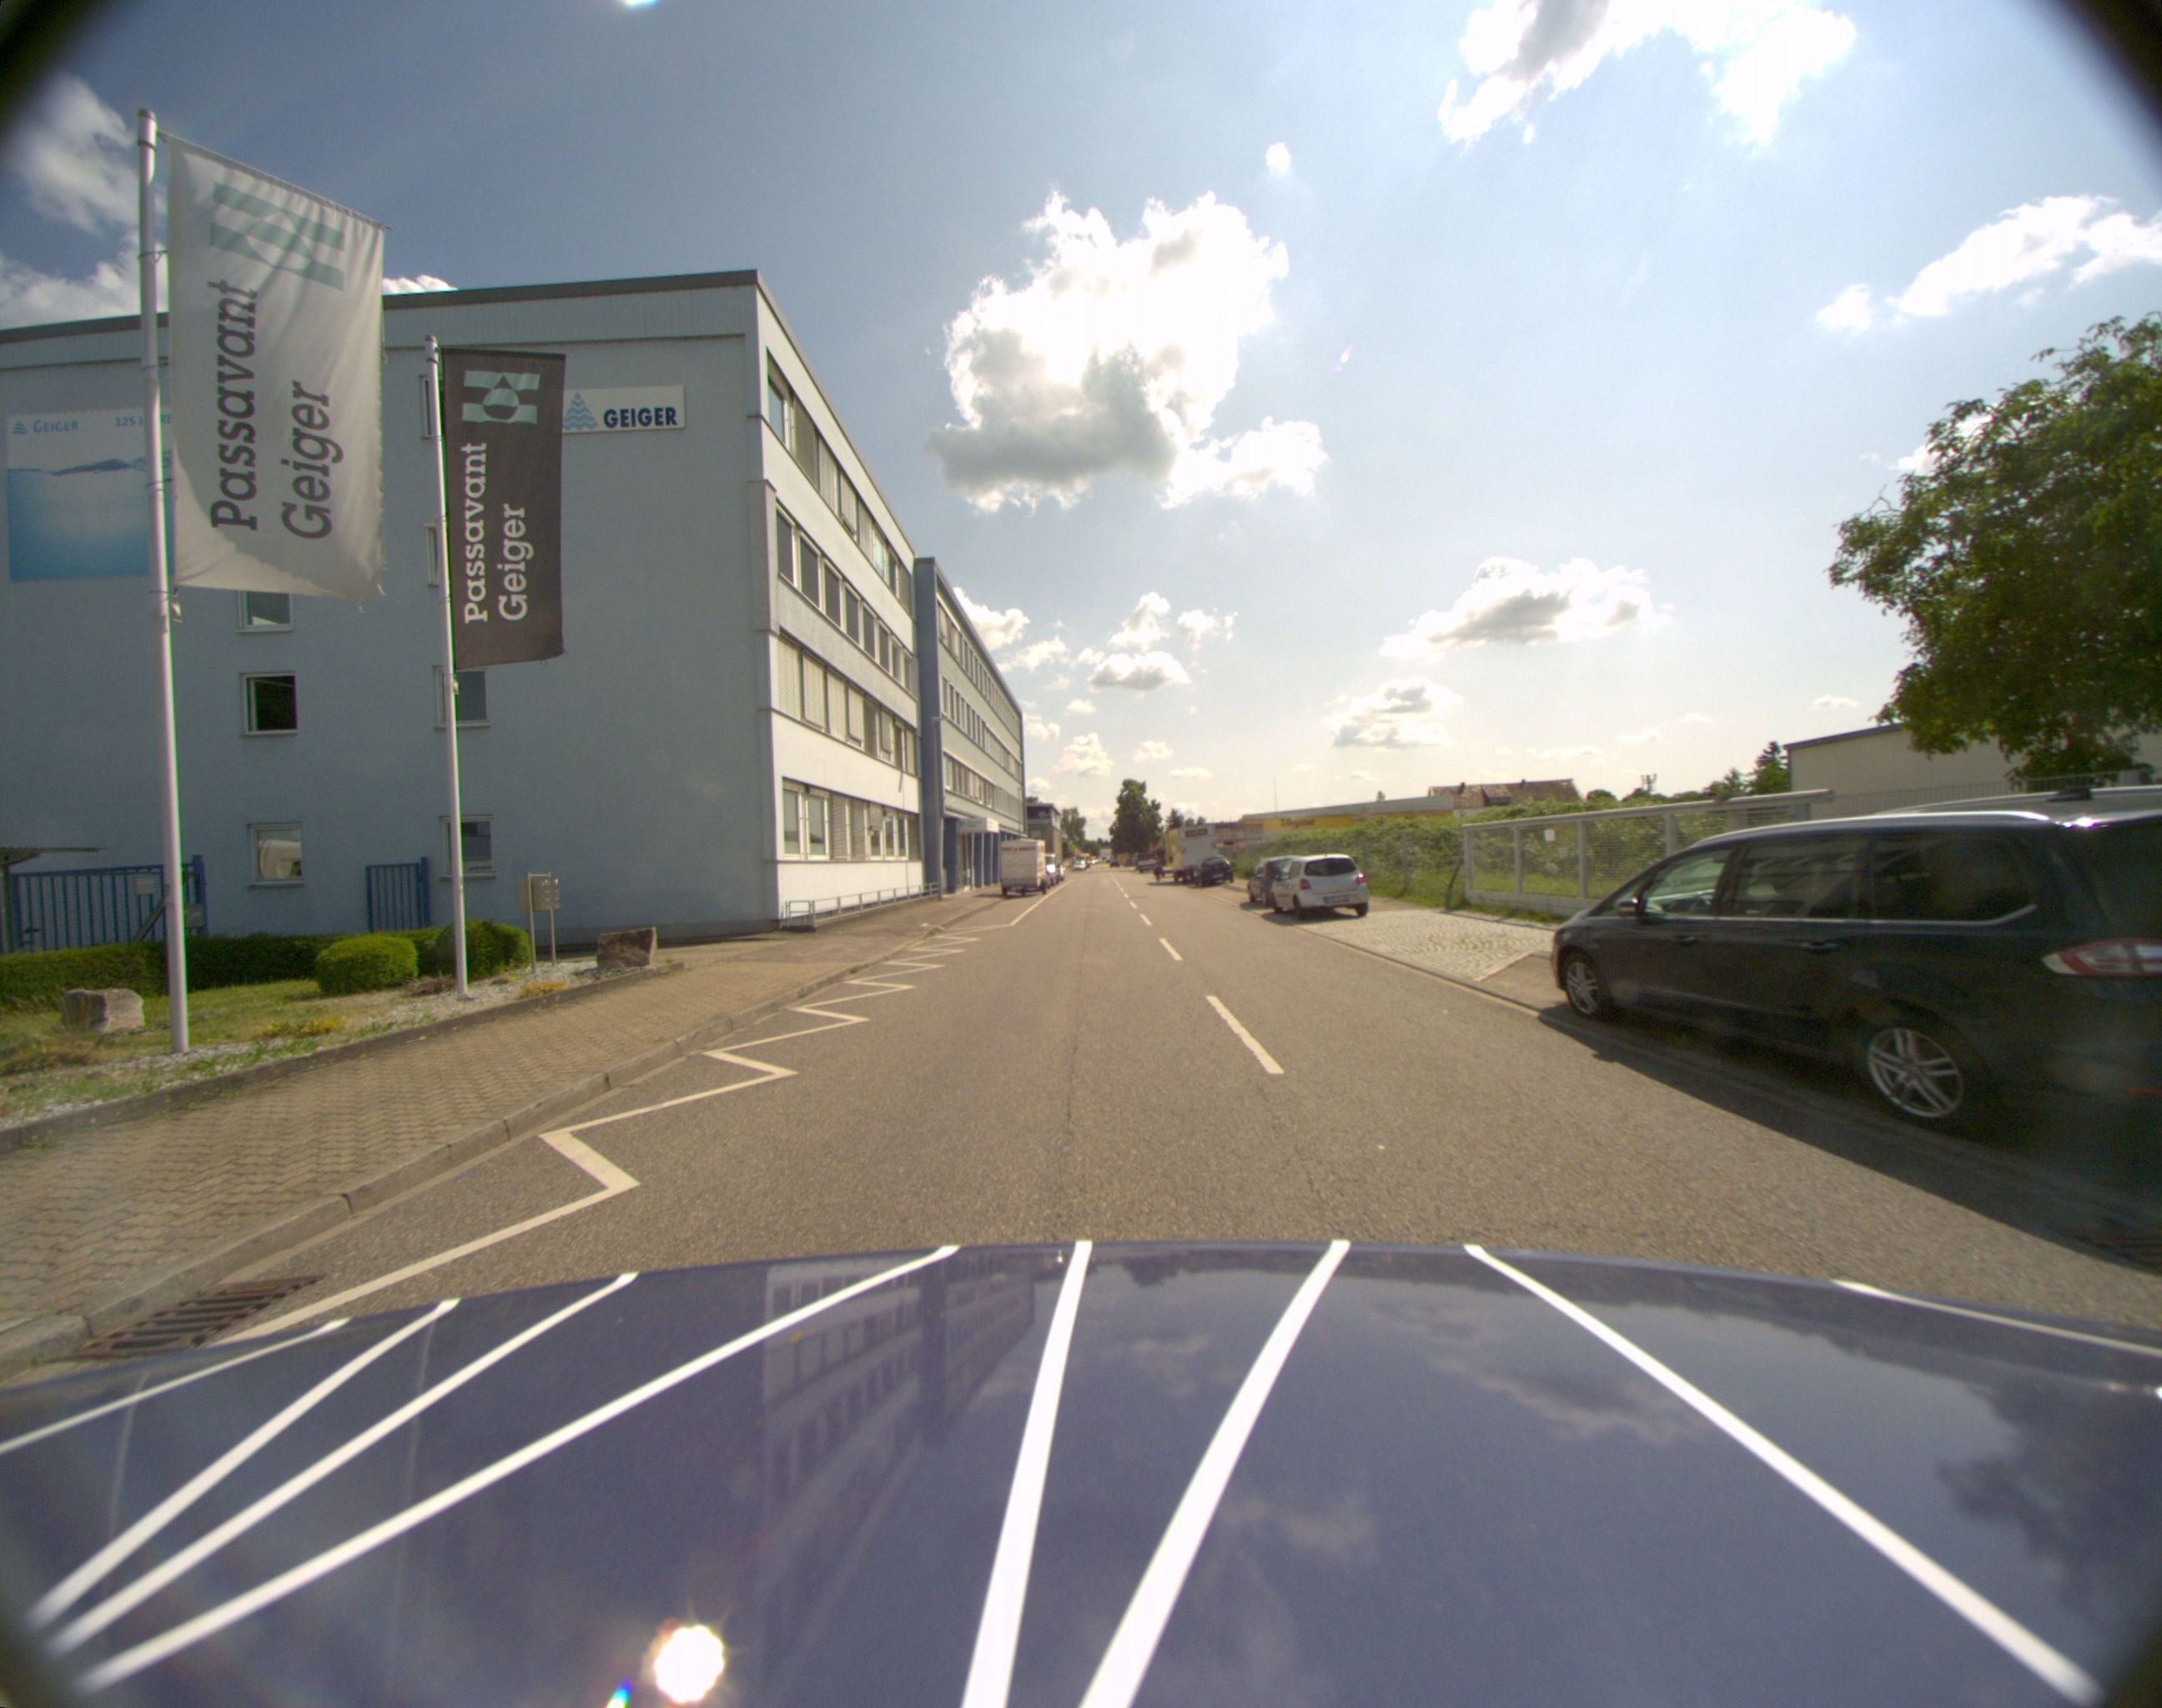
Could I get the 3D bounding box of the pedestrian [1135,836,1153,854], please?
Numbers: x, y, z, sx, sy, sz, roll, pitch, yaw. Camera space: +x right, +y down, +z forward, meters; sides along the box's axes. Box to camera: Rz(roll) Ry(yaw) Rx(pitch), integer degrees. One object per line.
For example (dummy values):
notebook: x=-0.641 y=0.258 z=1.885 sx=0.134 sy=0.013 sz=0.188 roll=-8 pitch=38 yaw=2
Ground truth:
pedestrian: x=7.440 y=-1.092 z=90.014 sx=1.998 sy=2.002 sz=4.000 roll=-3 pitch=1 yaw=3

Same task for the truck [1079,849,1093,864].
truck: x=1.071 y=0.558 z=149.665 sx=2.402 sy=2.787 sz=6.376 roll=-2 pitch=0 yaw=3

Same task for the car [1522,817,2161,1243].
car: x=5.329 y=0.690 z=5.269 sx=1.805 sy=1.739 sz=4.713 roll=-2 pitch=0 yaw=1

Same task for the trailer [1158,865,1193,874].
trailer: x=7.528 y=1.242 z=60.965 sx=2.241 sy=0.549 sz=4.444 roll=-2 pitch=0 yaw=0

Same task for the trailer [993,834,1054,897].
trailer: x=-2.469 y=0.489 z=33.877 sx=1.873 sy=2.538 sz=5.073 roll=-2 pitch=0 yaw=4

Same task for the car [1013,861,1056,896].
car: x=-2.328 y=1.201 z=39.313 sx=1.722 sy=1.533 sz=4.403 roll=-3 pitch=0 yaw=2

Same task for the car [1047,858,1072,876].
car: x=-1.578 y=0.940 z=57.575 sx=1.651 sy=1.239 sz=4.000 roll=-2 pitch=0 yaw=1

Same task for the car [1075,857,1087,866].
car: x=0.017 y=1.190 z=117.141 sx=1.657 sy=1.324 sz=4.000 roll=-2 pitch=0 yaw=1

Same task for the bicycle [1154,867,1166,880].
bicycle: x=4.832 y=1.199 z=46.532 sx=0.589 sy=0.737 sz=2.125 roll=-2 pitch=0 yaw=4

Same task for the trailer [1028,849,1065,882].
trailer: x=-2.208 y=0.727 z=50.139 sx=1.978 sy=1.959 sz=5.766 roll=-2 pitch=0 yaw=1

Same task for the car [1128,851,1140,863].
car: x=10.973 y=0.570 z=156.472 sx=1.997 sy=2.289 sz=4.003 roll=-2 pitch=0 yaw=11

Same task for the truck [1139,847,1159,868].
truck: x=8.054 y=0.402 z=90.703 sx=2.133 sy=2.225 sz=7.351 roll=-5 pitch=0 yaw=4

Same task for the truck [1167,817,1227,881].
truck: x=6.920 y=-0.231 z=46.093 sx=2.256 sy=3.342 sz=6.907 roll=-7 pitch=0 yaw=1

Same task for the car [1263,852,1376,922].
car: x=5.804 y=0.747 z=18.953 sx=1.619 sy=1.475 sz=3.710 roll=-4 pitch=0 yaw=1

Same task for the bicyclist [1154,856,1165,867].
bicyclist: x=4.787 y=0.478 z=46.520 sx=0.567 sy=0.628 sz=1.858 roll=-3 pitch=-1 yaw=4

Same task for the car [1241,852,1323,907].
car: x=6.156 y=0.741 z=23.695 sx=1.572 sy=1.391 sz=3.799 roll=-7 pitch=0 yaw=3

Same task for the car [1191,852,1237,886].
car: x=6.748 y=0.716 z=38.903 sx=1.623 sy=1.421 sz=3.827 roll=-8 pitch=0 yaw=2

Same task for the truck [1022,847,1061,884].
truck: x=-2.317 y=0.670 z=45.825 sx=1.969 sy=2.023 sz=4.734 roll=-2 pitch=0 yaw=1
